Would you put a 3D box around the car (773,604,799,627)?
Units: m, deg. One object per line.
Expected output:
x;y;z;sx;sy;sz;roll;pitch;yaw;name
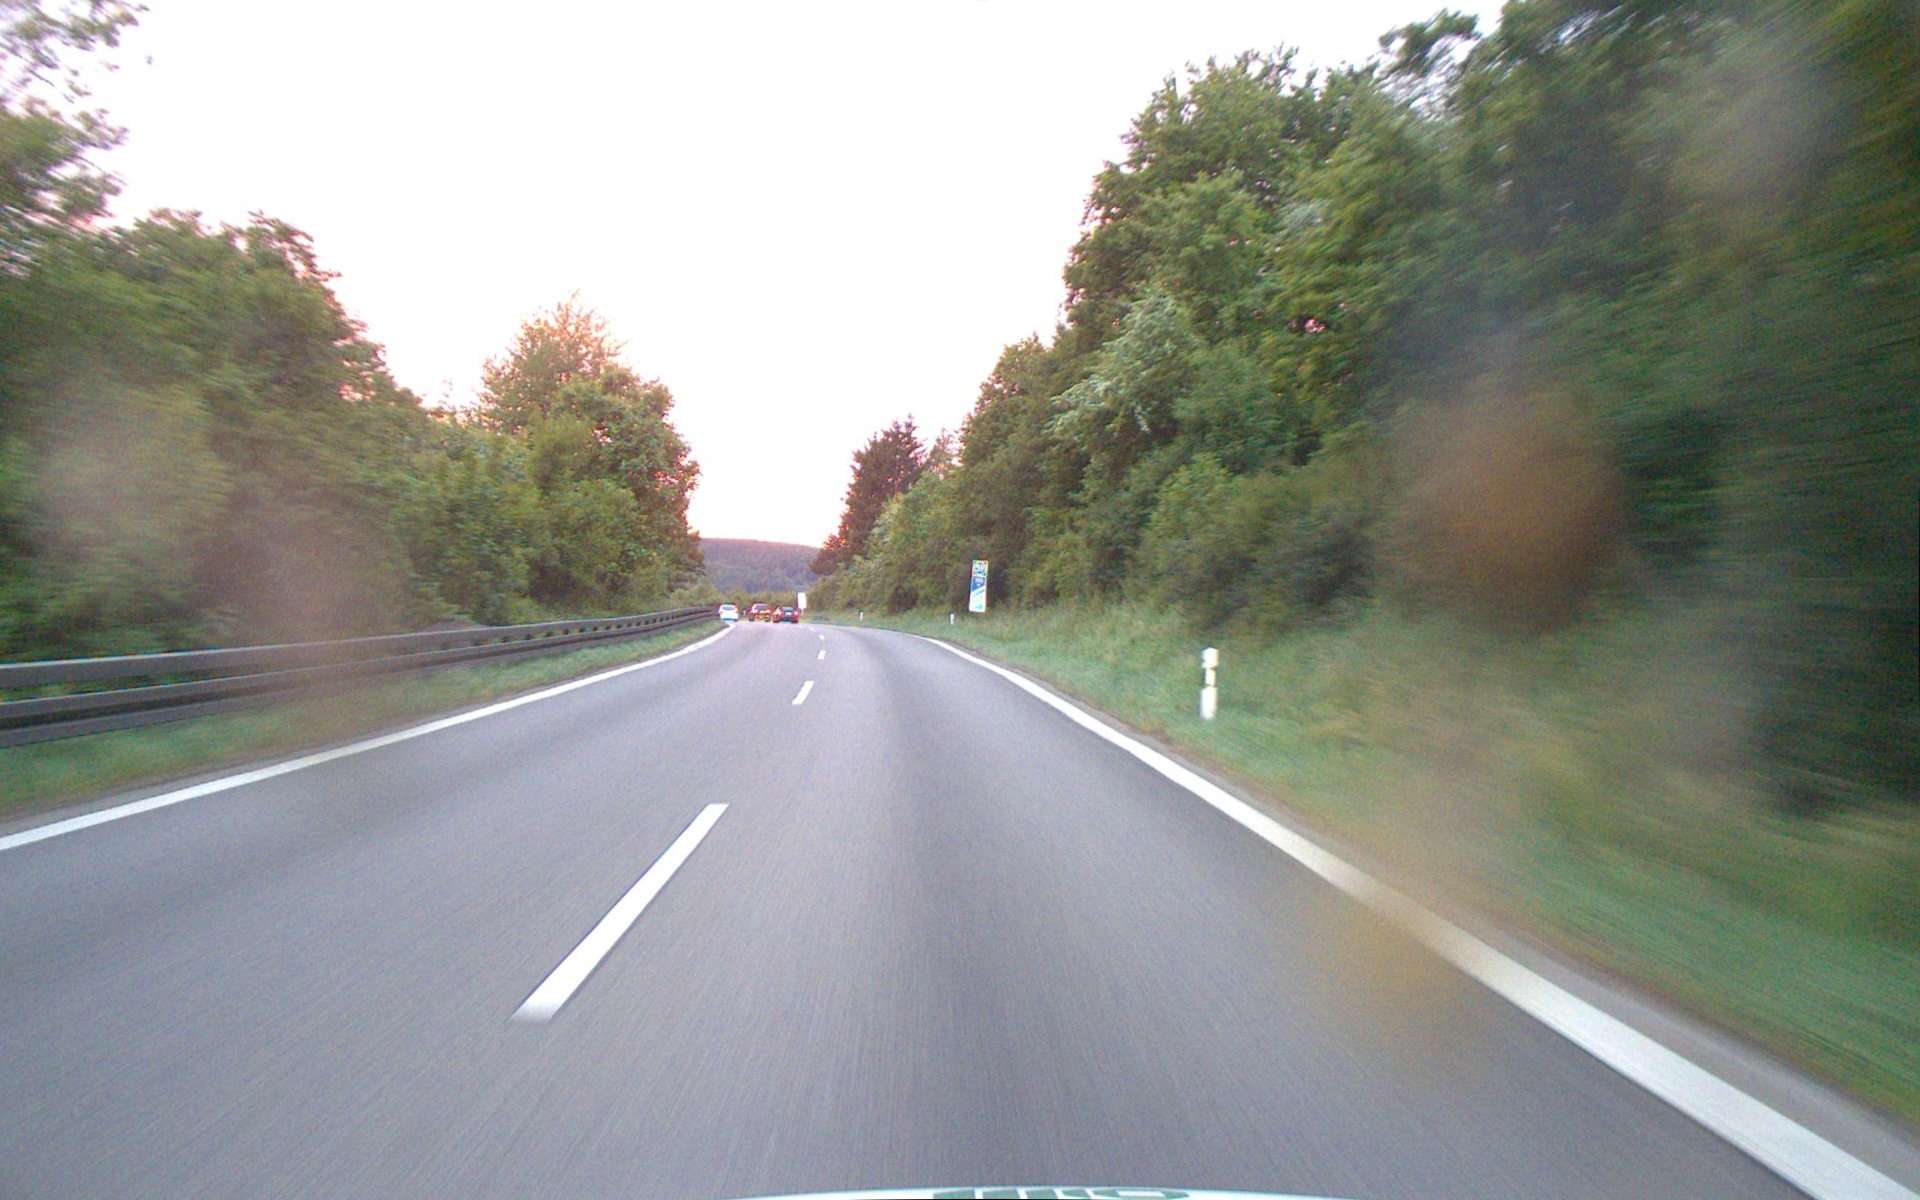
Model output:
-14.723;1.356;139.830;1.956;1.675;3.992;4;-3;-8;car

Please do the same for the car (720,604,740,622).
-21.063;1.197;151.559;1.685;1.528;3.994;2;-2;-6;car

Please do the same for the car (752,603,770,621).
-19.281;1.187;160.064;1.685;1.664;3.994;0;-1;-6;car
